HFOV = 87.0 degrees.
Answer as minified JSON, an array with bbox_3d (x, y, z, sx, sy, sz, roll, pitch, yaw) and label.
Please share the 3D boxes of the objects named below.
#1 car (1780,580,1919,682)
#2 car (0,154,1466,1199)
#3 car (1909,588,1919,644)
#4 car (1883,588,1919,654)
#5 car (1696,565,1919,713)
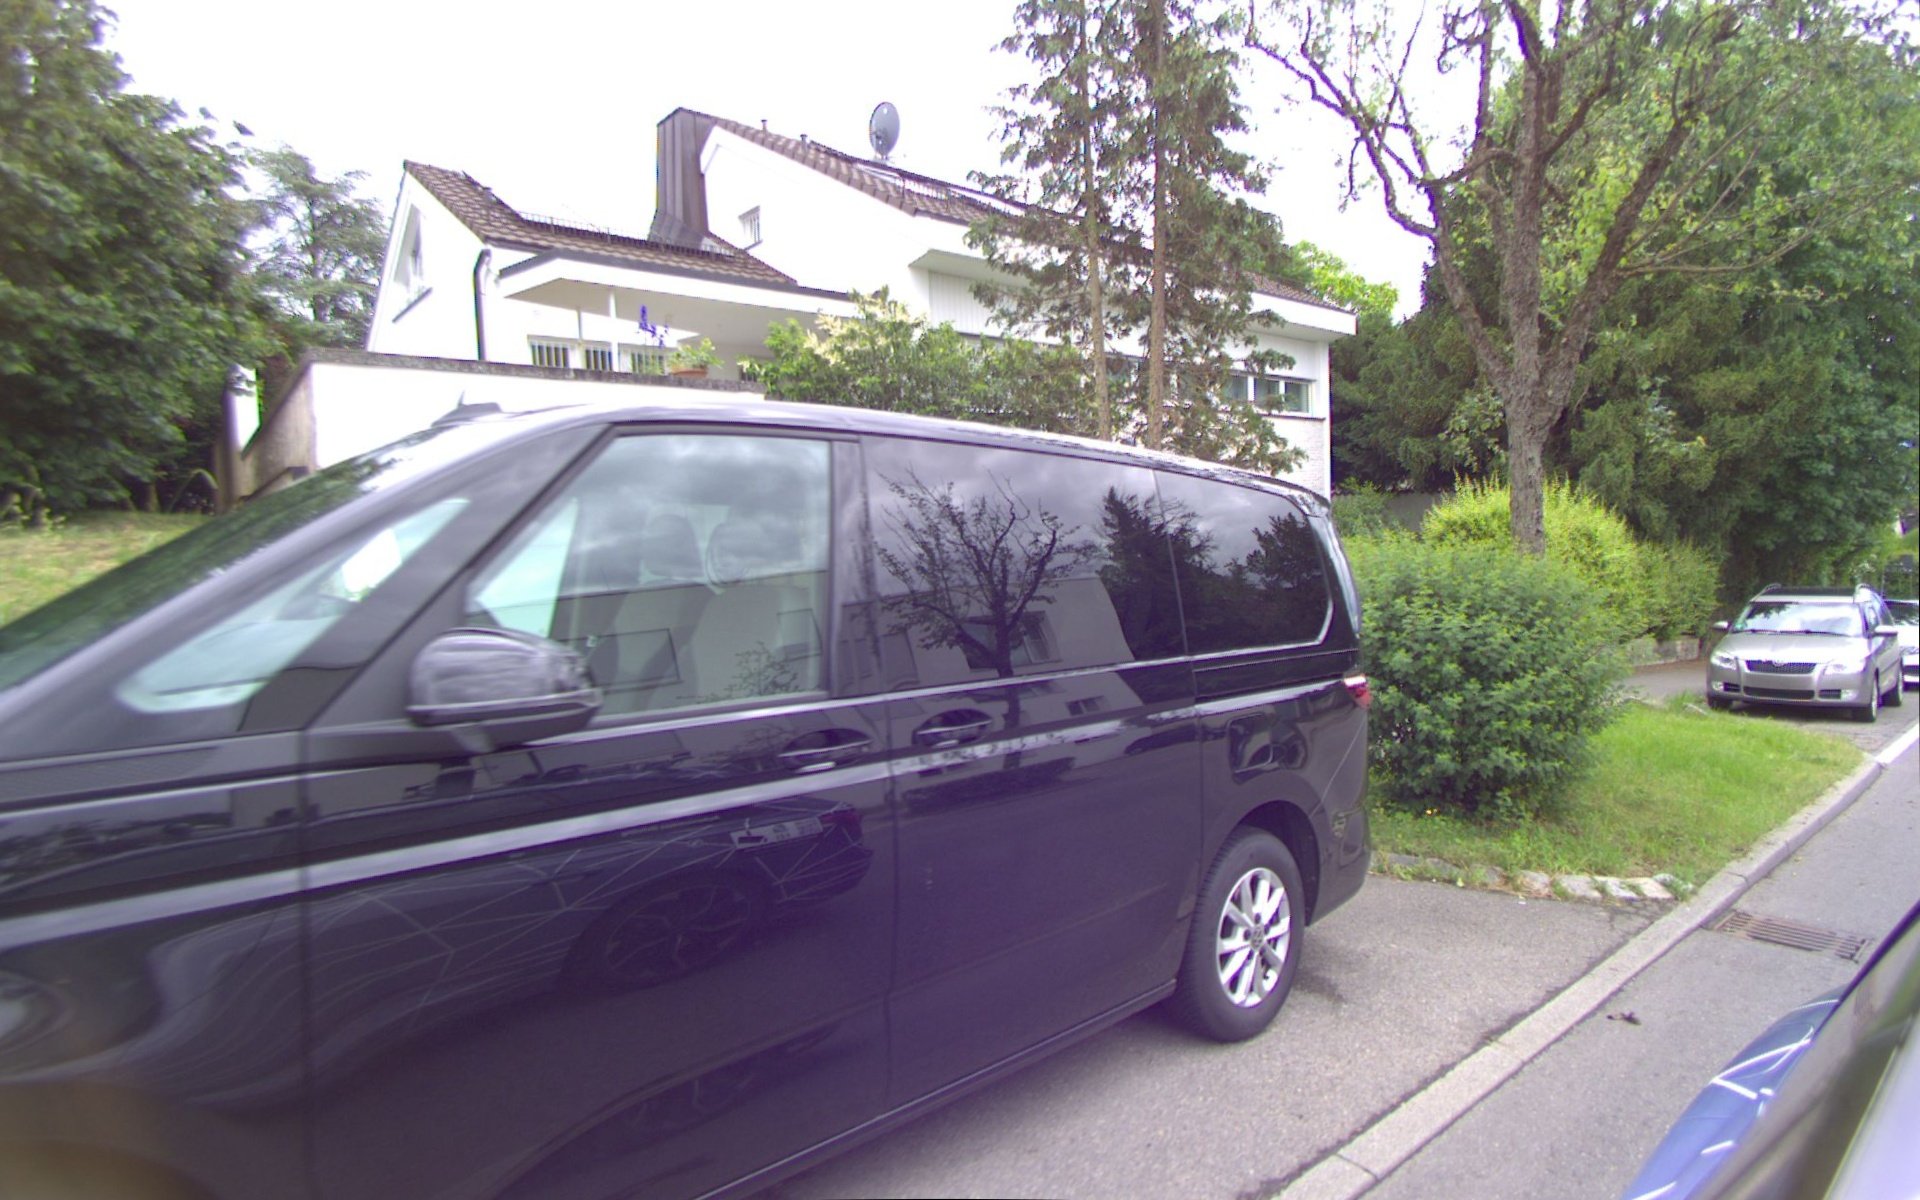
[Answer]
[{"bbox_3d":[16.061,0.459,17.532,4.916,1.510,1.998,0,3,-40],"label":"car"},{"bbox_3d":[-0.654,0.368,2.896,5.128,1.860,1.940,-1,2,-41],"label":"car"},{"bbox_3d":[27.528,0.436,27.942,1.811,1.470,4.309,3,3,44],"label":"car"},{"bbox_3d":[23.923,0.462,24.636,4.087,1.527,1.700,0,0,-41],"label":"car"},{"bbox_3d":[11.186,0.414,13.227,3.860,1.653,1.719,-1,0,-41],"label":"car"}]
